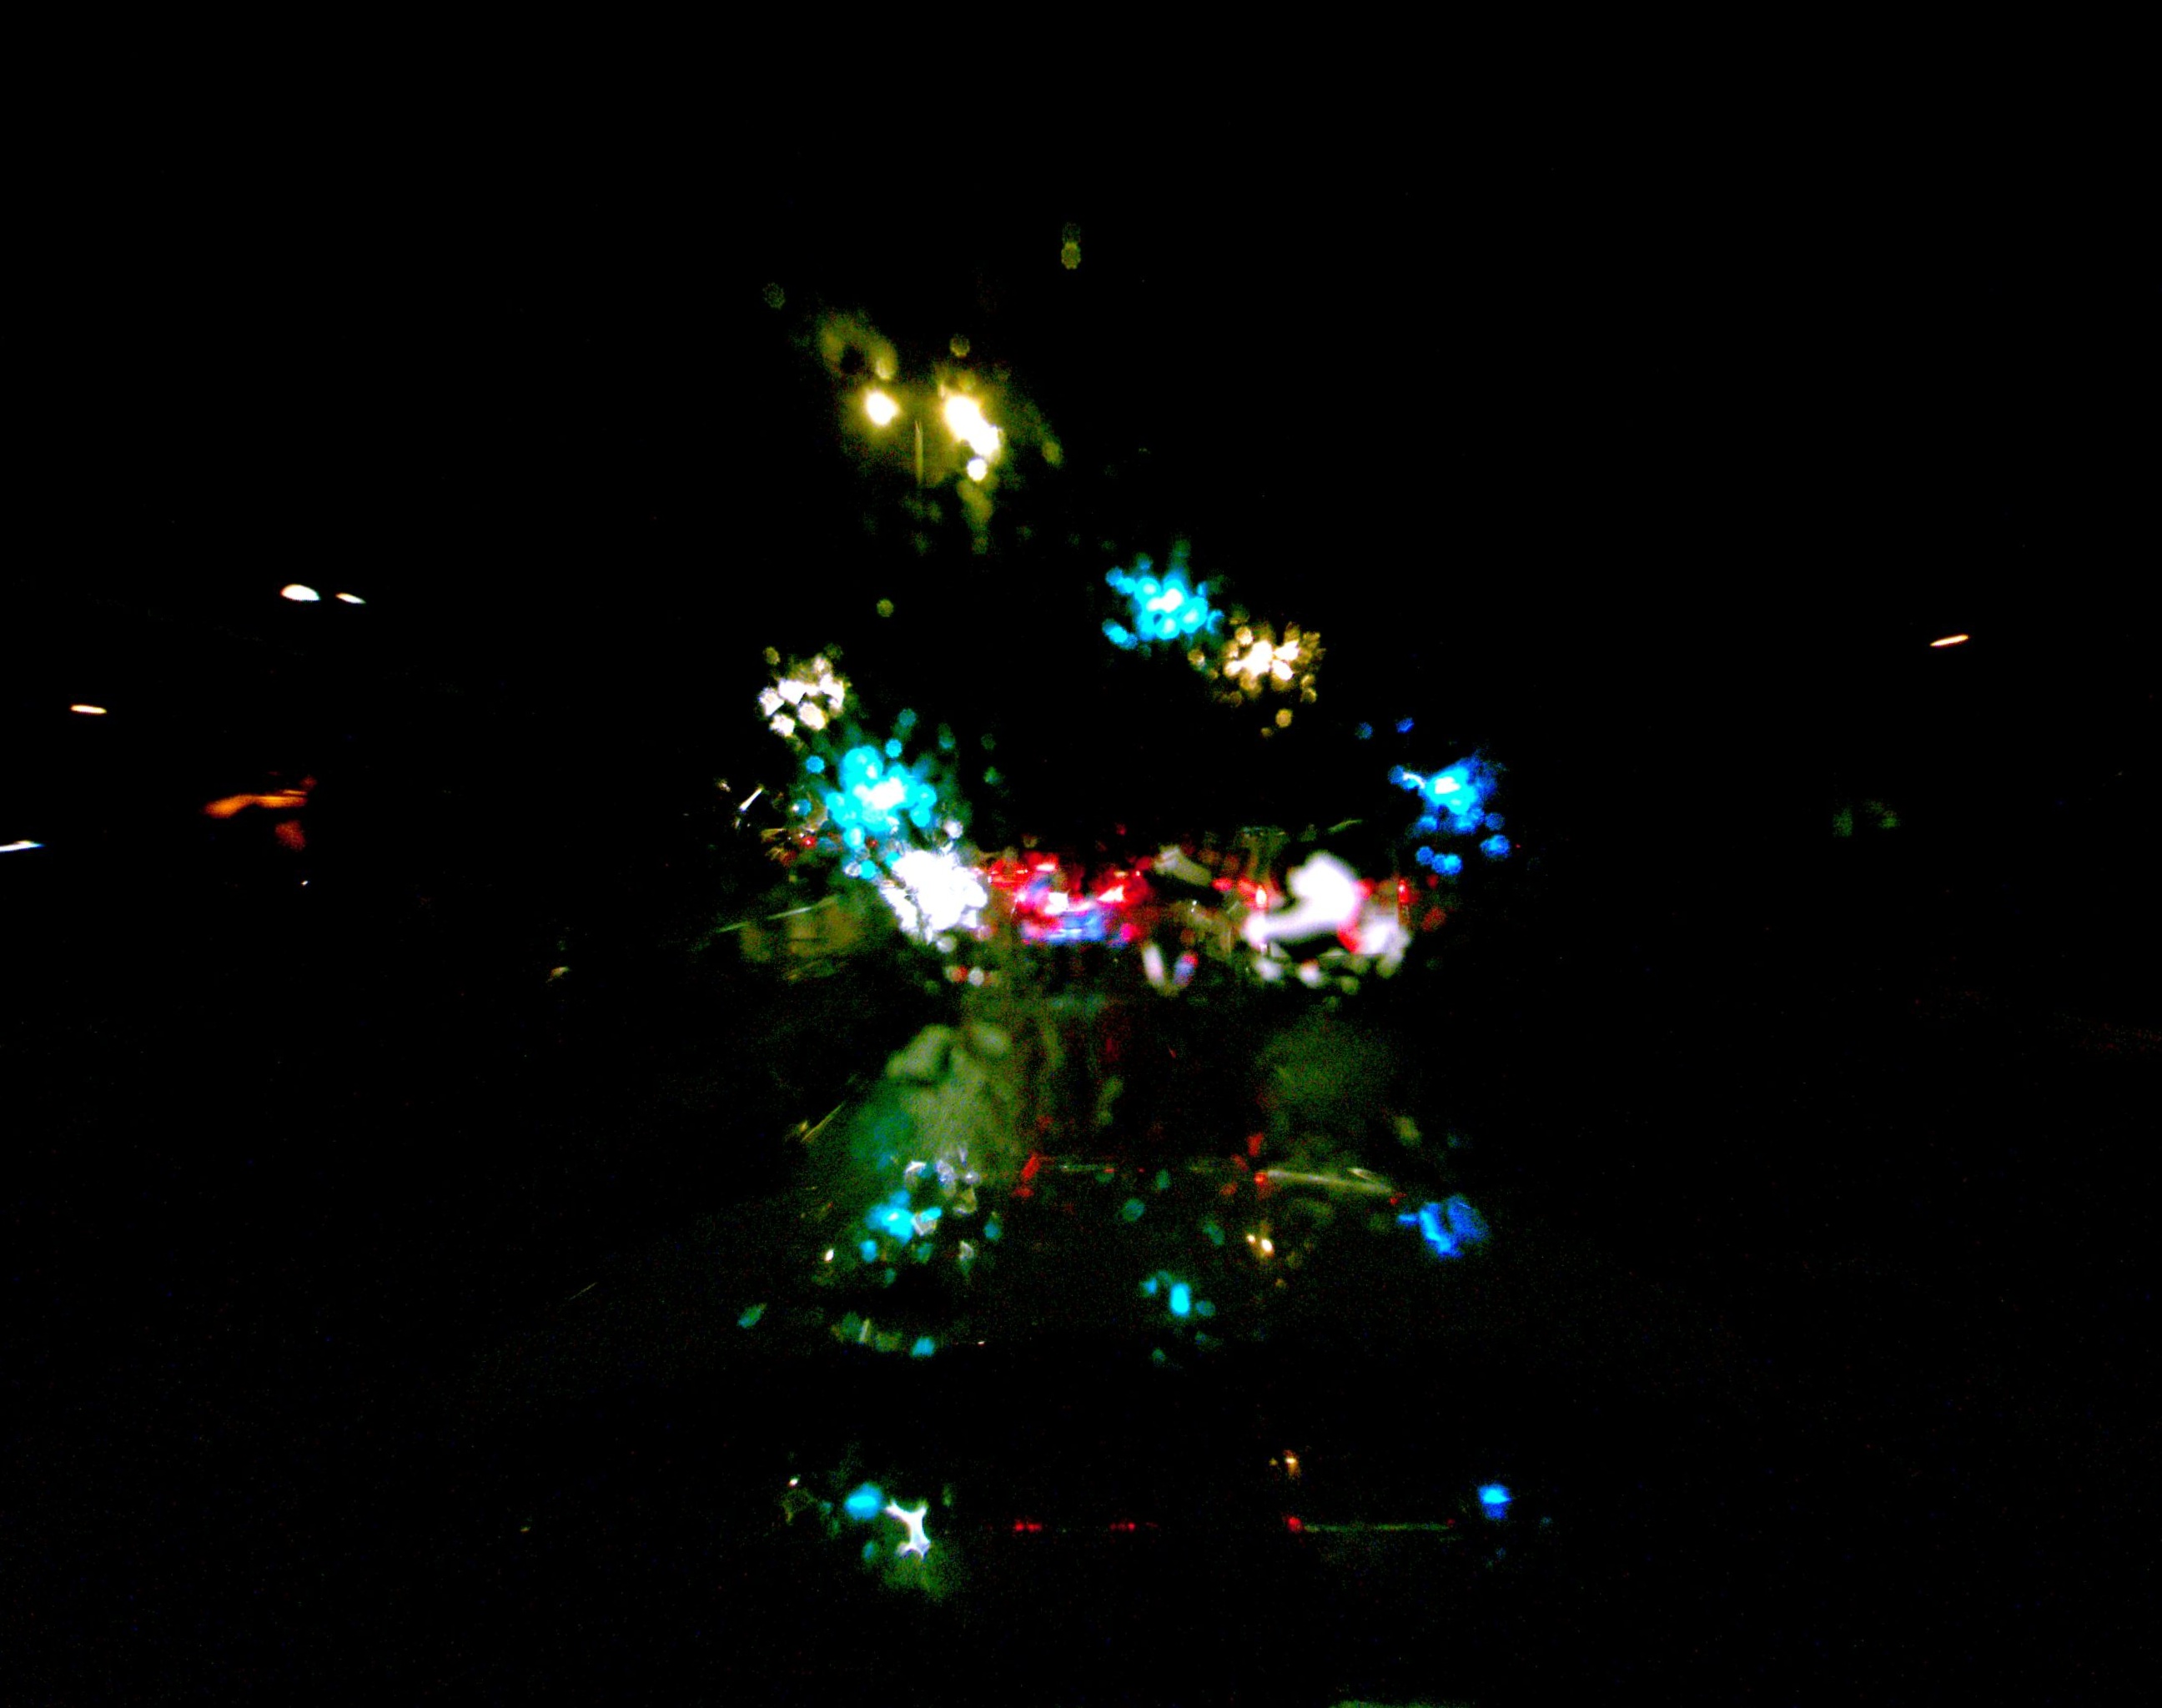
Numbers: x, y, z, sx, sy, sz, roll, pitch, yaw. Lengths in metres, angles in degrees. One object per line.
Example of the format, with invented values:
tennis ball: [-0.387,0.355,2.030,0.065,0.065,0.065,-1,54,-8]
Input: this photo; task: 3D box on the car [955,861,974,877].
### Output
car: [-13.901,1.773,97.016,1.994,1.820,3.986,0,0,-10]

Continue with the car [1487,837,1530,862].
car: [30.429,-0.313,58.079,1.760,1.669,4.084,-1,0,13]

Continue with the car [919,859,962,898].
car: [-7.461,1.255,42.858,2.016,1.887,4.432,0,0,-13]

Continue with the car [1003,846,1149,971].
car: [-0.165,0.769,13.546,2.010,1.717,4.447,0,0,-3]

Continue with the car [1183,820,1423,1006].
car: [2.532,0.610,10.455,1.846,1.865,4.339,0,0,-1]

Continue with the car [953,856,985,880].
car: [-8.728,1.065,63.417,1.997,1.732,3.979,0,0,-15]

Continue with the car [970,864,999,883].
car: [-8.576,1.696,71.999,1.997,1.670,3.979,0,0,-15]

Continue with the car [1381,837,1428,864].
car: [21.841,-0.214,55.049,1.855,1.646,3.969,-3,-1,6]

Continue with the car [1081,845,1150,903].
car: [1.208,0.716,30.630,1.967,2.047,3.990,0,0,-7]

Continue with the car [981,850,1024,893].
car: [-3.969,0.835,40.867,1.992,2.014,3.989,0,0,-8]

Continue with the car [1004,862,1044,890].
car: [-3.679,1.361,51.788,1.995,1.718,3.983,0,0,-12]

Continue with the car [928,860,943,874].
car: [-20.212,1.801,112.730,1.994,1.824,3.985,0,0,-11]
